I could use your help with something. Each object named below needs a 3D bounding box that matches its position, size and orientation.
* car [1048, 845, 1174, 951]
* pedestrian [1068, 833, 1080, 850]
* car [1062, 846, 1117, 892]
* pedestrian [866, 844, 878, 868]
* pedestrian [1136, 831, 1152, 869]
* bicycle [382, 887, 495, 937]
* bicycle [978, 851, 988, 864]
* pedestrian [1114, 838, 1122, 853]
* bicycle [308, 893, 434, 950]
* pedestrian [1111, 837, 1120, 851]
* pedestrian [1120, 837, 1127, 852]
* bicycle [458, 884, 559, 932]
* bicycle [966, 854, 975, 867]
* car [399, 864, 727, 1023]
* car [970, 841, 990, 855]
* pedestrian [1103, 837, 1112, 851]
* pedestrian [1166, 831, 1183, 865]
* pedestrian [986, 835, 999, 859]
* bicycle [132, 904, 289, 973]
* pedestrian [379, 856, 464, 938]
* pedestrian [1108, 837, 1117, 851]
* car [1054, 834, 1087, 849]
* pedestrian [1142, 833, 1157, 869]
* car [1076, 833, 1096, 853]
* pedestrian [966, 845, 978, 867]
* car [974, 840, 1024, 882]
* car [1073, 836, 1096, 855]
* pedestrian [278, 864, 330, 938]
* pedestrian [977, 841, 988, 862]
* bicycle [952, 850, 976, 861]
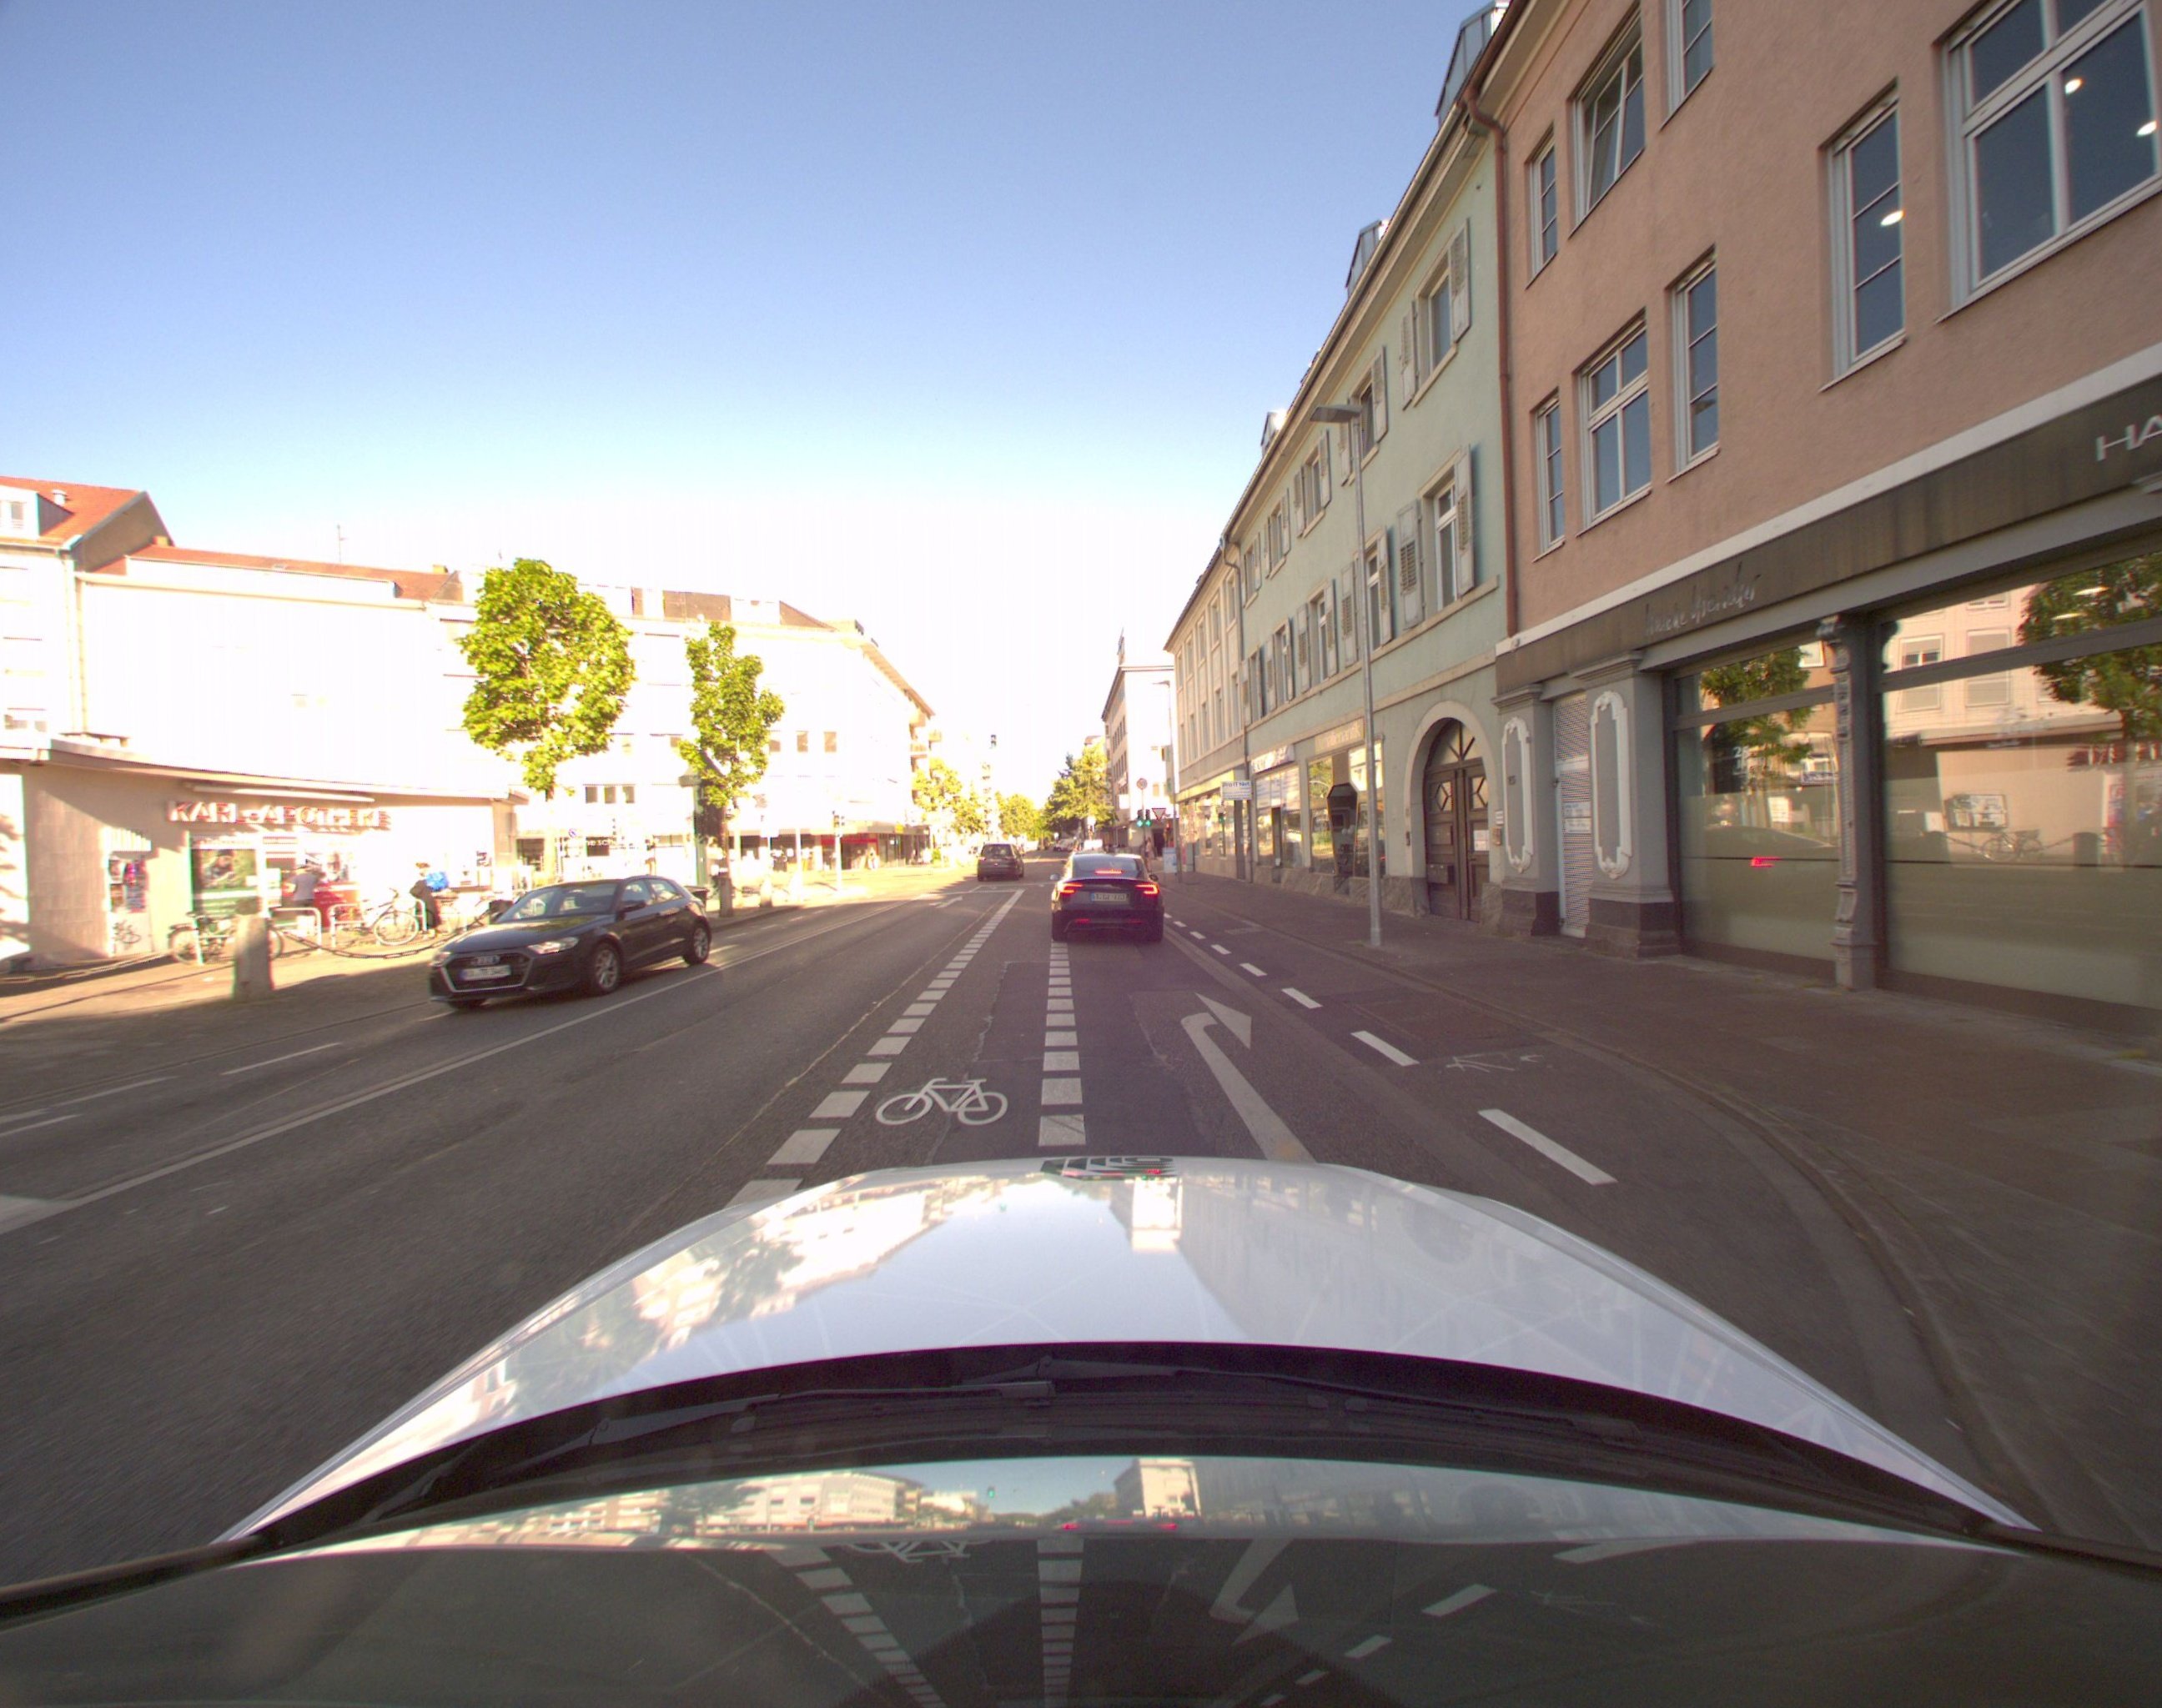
[{"bbox_3d":[0.432,0.655,14.694,1.864,1.427,4.363,-3,2,-1],"label":"car"},{"bbox_3d":[-0.779,-1.422,93.597,0.951,1.915,1.109,-3,1,14],"label":"pedestrian"},{"bbox_3d":[0.296,0.475,28.930,1.756,1.418,4.354,-2,1,0],"label":"car"},{"bbox_3d":[-14.800,0.129,57.678,0.557,1.709,0.711,-4,1,-5],"label":"pedestrian"},{"bbox_3d":[3.174,-0.196,40.876,0.638,1.841,0.681,-3,1,-2],"label":"pedestrian"},{"bbox_3d":[-14.599,1.322,18.529,1.999,1.002,0.891,-2,1,12],"label":"bicycle"},{"bbox_3d":[-8.061,0.290,66.810,0.553,0.968,1.786,-4,1,-13],"label":"bicycle"},{"bbox_3d":[3.271,-0.776,71.626,0.585,1.312,0.560,-3,1,-2],"label":"pedestrian"},{"bbox_3d":[-14.084,1.329,16.184,1.875,1.002,0.767,-2,1,6],"label":"bicycle"},{"bbox_3d":[3.484,-1.045,82.400,0.729,1.360,0.958,-3,1,-2],"label":"pedestrian"},{"bbox_3d":[3.798,-0.821,72.427,0.485,1.322,0.654,-3,1,5],"label":"pedestrian"},{"bbox_3d":[-14.611,1.375,20.825,1.982,1.088,0.753,-2,1,-1],"label":"bicycle"},{"bbox_3d":[-8.952,0.529,65.945,0.481,0.955,1.448,-4,1,-16],"label":"bicycle"},{"bbox_3d":[-6.358,0.969,10.651,1.646,1.397,4.041,-5,1,-2],"label":"car"},{"bbox_3d":[-12.364,-0.709,99.830,1.987,1.598,4.000,-2,1,0],"label":"car"},{"bbox_3d":[2.710,-0.996,82.209,0.708,1.347,1.058,-3,1,-5],"label":"pedestrian"},{"bbox_3d":[4.842,-0.299,42.174,0.688,1.702,0.912,-4,1,-1],"label":"pedestrian"},{"bbox_3d":[-7.268,-0.574,66.936,0.780,1.866,0.996,-6,2,-16],"label":"pedestrian"},{"bbox_3d":[-14.504,1.400,13.597,1.875,1.002,0.767,-2,1,6],"label":"bicycle"},{"bbox_3d":[-14.551,0.932,17.982,1.075,1.697,0.906,-2,1,12],"label":"pedestrian"},{"bbox_3d":[3.144,-0.992,81.117,0.729,1.347,1.058,-3,1,-4],"label":"pedestrian"},{"bbox_3d":[-1.763,-2.107,138.821,5.380,2.145,1.998,-3,1,-3],"label":"car"},{"bbox_3d":[3.392,-0.144,40.321,0.571,1.759,0.649,-2,1,-2],"label":"pedestrian"},{"bbox_3d":[0.473,-1.159,83.611,1.899,1.852,4.286,-3,1,-2],"label":"car"},{"bbox_3d":[-8.802,0.127,65.651,0.792,1.712,0.650,-3,1,-17],"label":"pedestrian"},{"bbox_3d":[-3.716,0.263,37.674,1.899,1.733,4.286,-3,1,-2],"label":"car"},{"bbox_3d":[0.267,-0.844,77.177,1.995,1.636,4.286,-3,1,-2],"label":"car"},{"bbox_3d":[-18.711,1.115,19.622,0.518,1.709,0.611,-3,1,-2],"label":"pedestrian"},{"bbox_3d":[-8.074,-0.196,66.934,0.780,1.727,0.556,-3,1,-17],"label":"pedestrian"},{"bbox_3d":[-11.531,0.155,80.083,2.223,0.958,0.653,-3,1,-15],"label":"bicycle"}]
